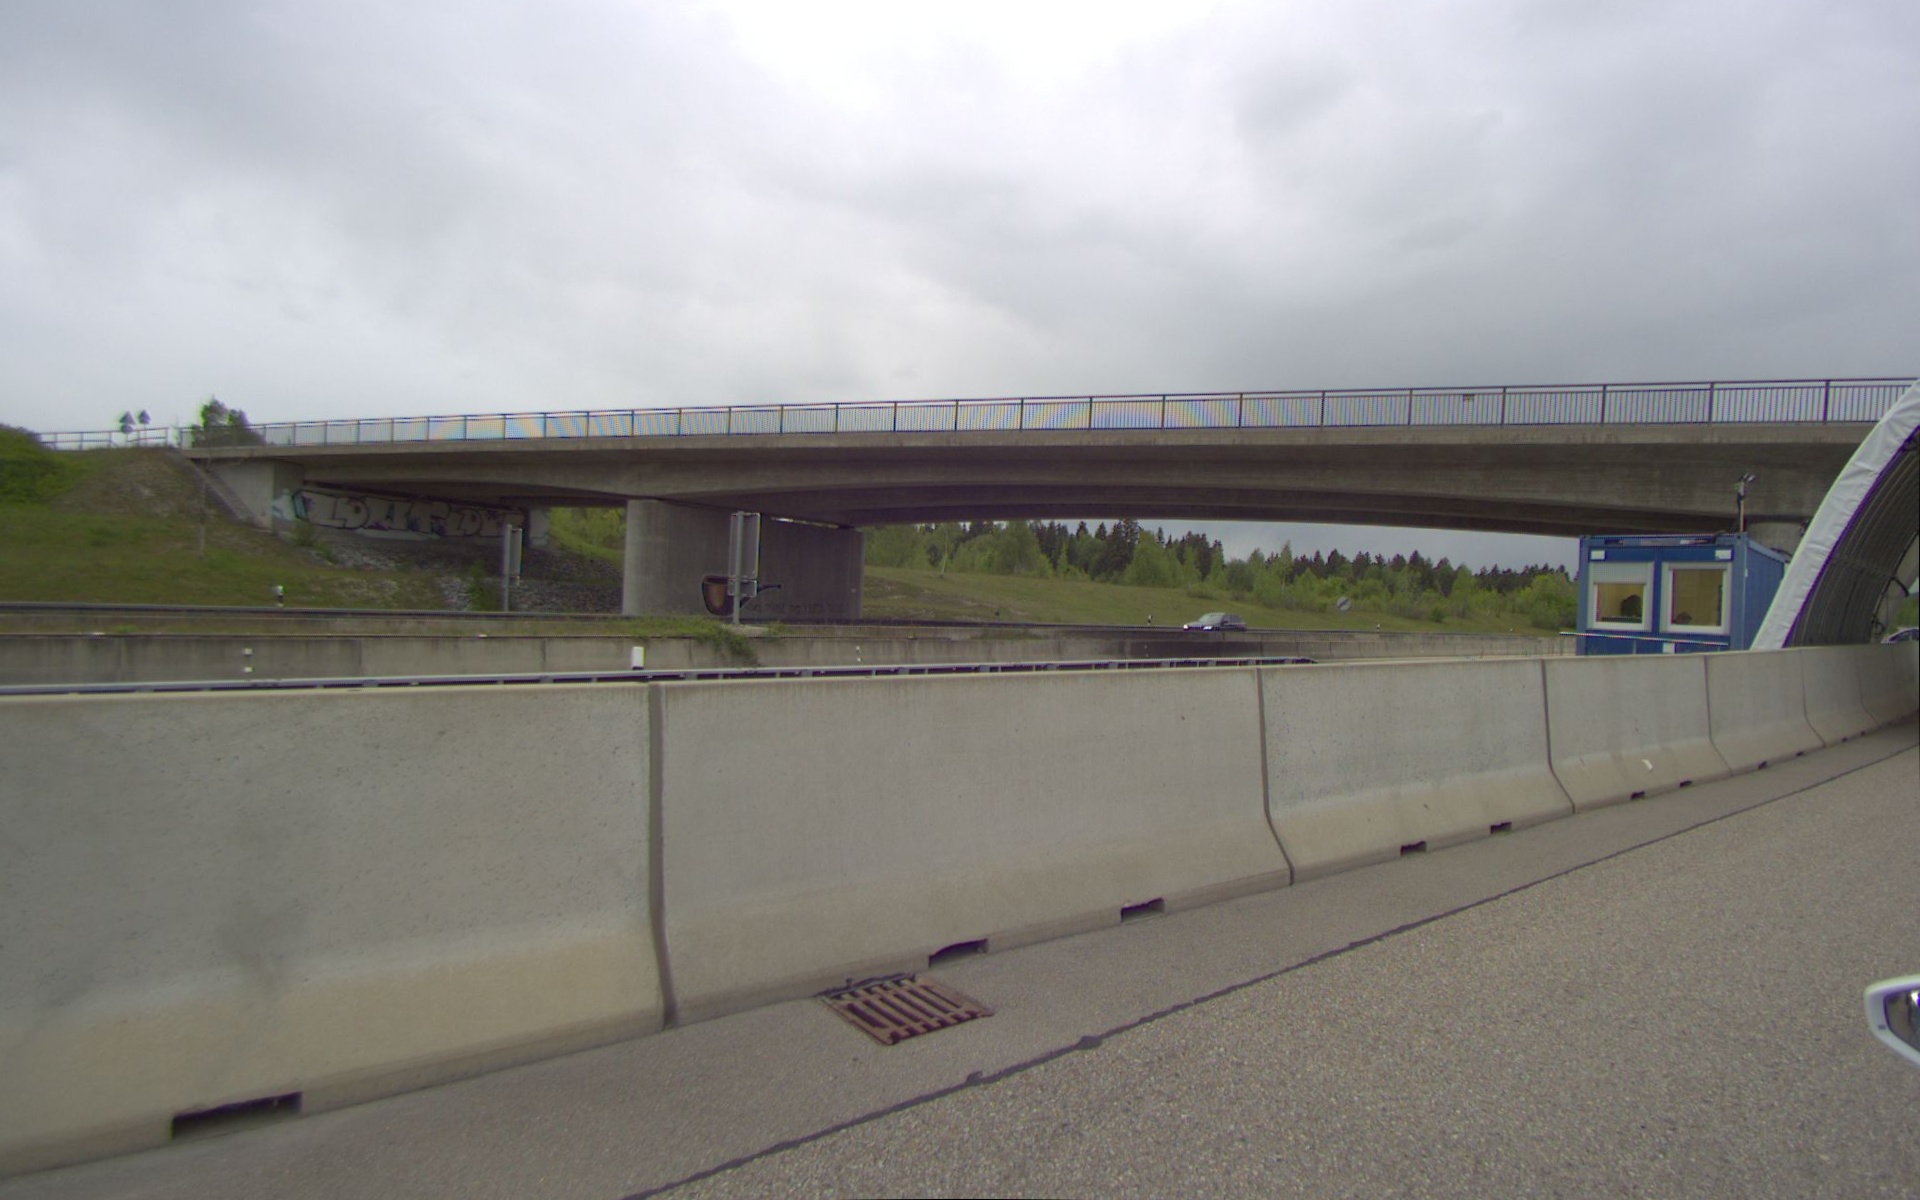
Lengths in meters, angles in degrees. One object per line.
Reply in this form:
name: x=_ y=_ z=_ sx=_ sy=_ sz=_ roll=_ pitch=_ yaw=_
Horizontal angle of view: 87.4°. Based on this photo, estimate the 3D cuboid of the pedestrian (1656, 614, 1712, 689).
pedestrian: x=13.630 y=0.960 z=18.916 sx=0.618 sy=1.391 sz=0.609 roll=2 pitch=-1 yaw=-21

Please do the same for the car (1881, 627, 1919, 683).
car: x=36.825 y=2.059 z=36.395 sx=1.814 sy=2.040 sz=4.797 roll=2 pitch=-1 yaw=-22

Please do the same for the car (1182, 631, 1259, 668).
car: x=14.873 y=2.775 z=57.173 sx=1.964 sy=1.981 sz=5.079 roll=0 pitch=-2 yaw=44
